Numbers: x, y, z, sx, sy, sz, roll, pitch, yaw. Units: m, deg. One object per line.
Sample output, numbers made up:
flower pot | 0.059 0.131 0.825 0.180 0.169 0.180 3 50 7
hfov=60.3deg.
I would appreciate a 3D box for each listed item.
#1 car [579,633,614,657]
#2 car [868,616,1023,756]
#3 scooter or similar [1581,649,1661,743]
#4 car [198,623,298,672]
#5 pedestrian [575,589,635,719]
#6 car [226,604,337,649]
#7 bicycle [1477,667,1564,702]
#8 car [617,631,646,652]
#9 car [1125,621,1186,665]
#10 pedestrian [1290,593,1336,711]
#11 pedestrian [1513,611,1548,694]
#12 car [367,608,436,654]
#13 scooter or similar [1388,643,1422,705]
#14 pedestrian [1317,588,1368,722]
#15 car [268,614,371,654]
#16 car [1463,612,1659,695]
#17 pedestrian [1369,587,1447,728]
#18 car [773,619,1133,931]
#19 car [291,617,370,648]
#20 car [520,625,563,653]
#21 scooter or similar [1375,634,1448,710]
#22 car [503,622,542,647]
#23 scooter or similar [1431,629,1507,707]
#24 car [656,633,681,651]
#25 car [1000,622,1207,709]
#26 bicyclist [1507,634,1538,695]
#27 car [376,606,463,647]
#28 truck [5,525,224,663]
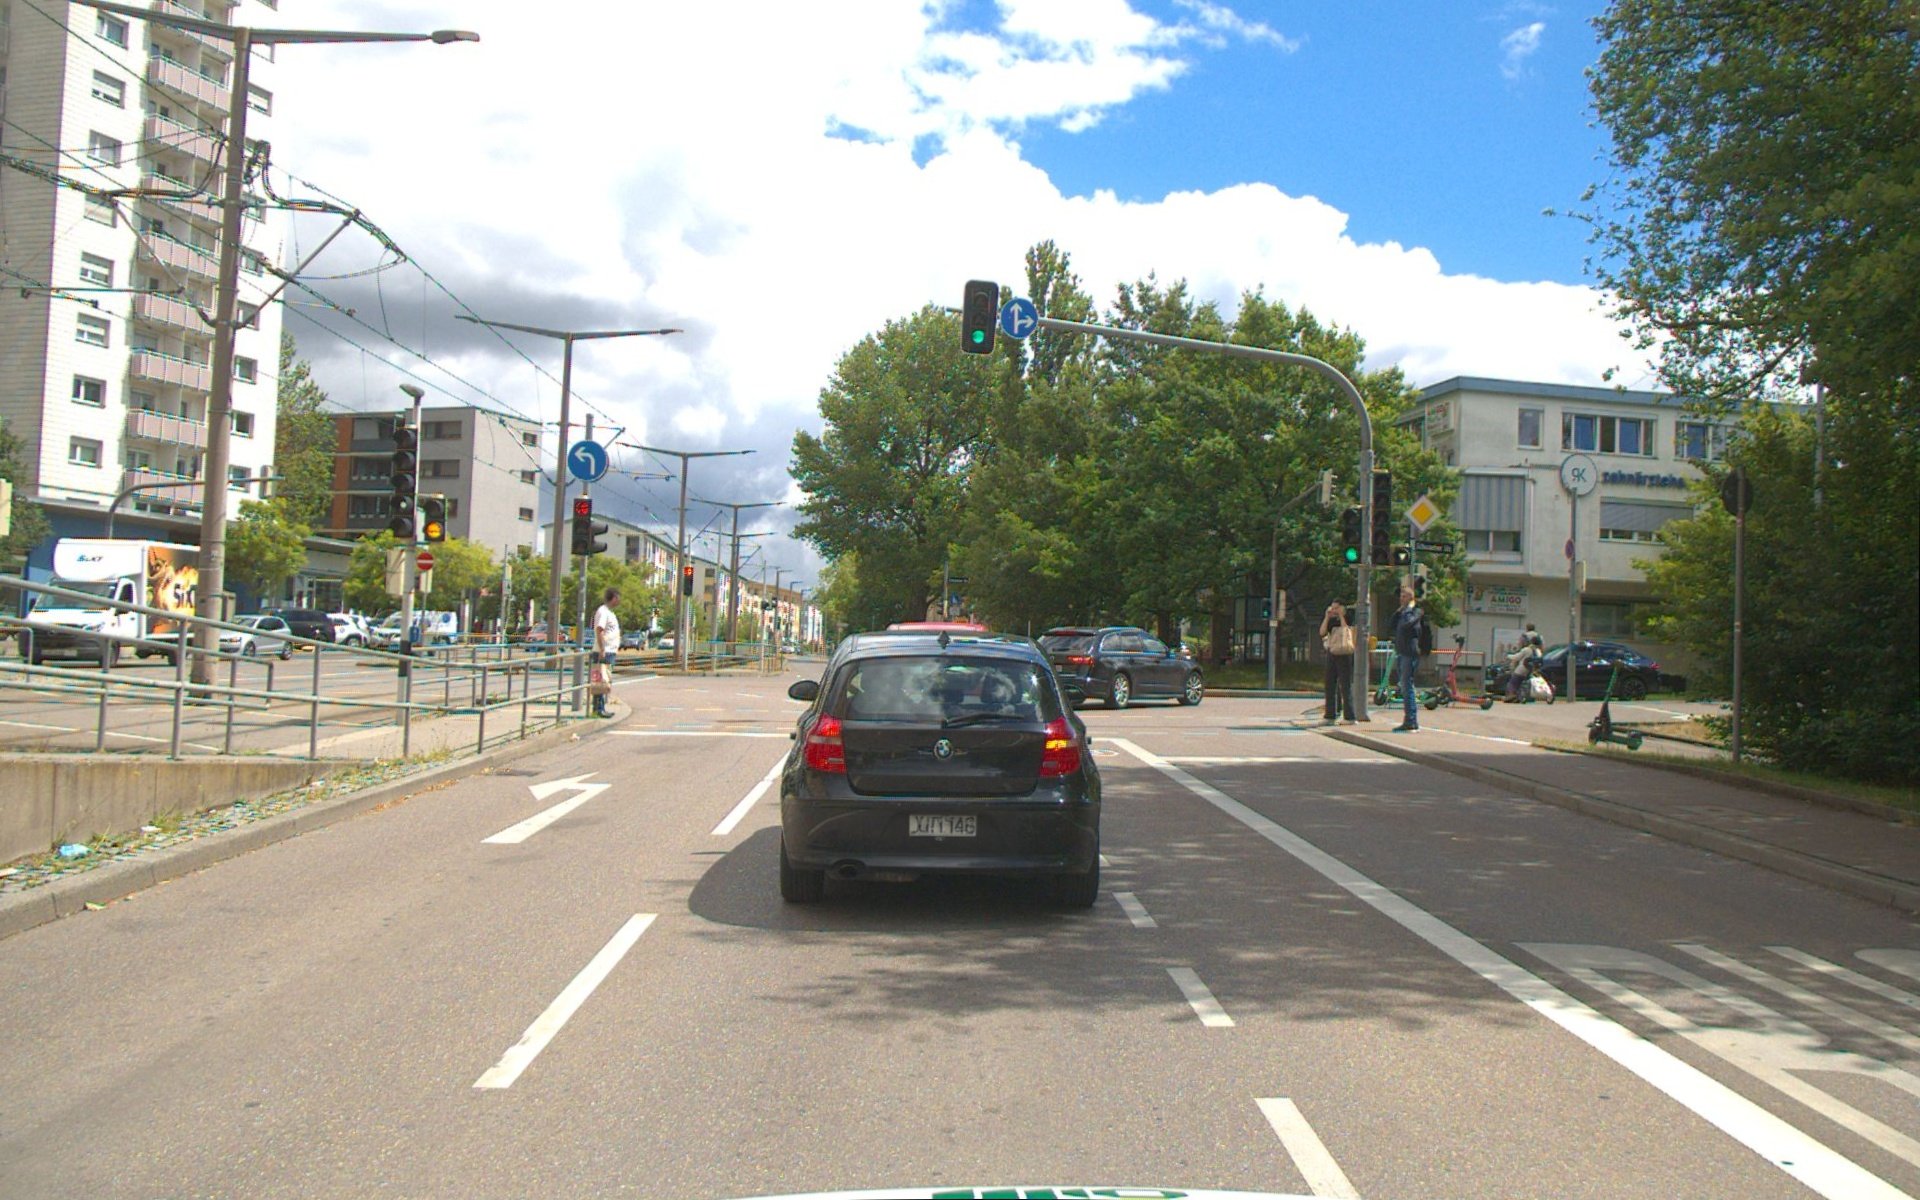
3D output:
car | -25.027 3.058 113.862 1.618 1.561 3.869 1 -1 -2
car | -0.170 0.921 19.076 1.605 1.424 3.419 1 -1 -1
scooter or similar | 9.538 1.385 23.883 0.872 1.251 0.454 6 -1 -1
car | -22.849 1.491 53.186 1.378 1.486 3.776 1 -1 3
pedestrian | -4.896 0.742 22.839 0.673 1.764 0.687 1 -1 -1
car | -27.602 1.085 67.348 3.951 1.716 1.558 2 -1 -34
bicycle | 11.053 1.661 32.664 0.530 0.620 1.564 2 -1 -44
car | -26.357 3.321 132.755 1.618 1.561 3.869 1 -1 -2
car | 8.826 1.945 75.076 1.694 1.904 3.991 2 -1 -9
pedestrian | 5.491 0.803 25.751 0.622 1.797 0.518 1 -1 5
pedestrian | 12.057 1.104 34.958 0.644 1.743 0.461 1 -1 26
car | -22.895 1.247 67.924 1.559 1.787 3.773 2 -1 -2
scooter or similar | 8.129 1.346 30.226 0.536 1.082 1.263 1 -1 13
pedestrian | 5.531 0.792 23.934 0.622 1.909 0.518 1 -1 5
car | -28.072 1.501 72.586 1.628 1.676 3.897 0 -1 44
car | 15.904 1.396 43.856 4.450 2.049 1.996 2 -1 -8
pedestrian | 6.224 0.787 23.017 0.779 1.909 1.013 1 -1 -1
car | -0.048 0.844 9.485 1.665 1.424 3.419 1 -1 -1
car | -28.833 1.496 75.759 3.076 1.304 1.449 2 -1 -39
car | -24.436 2.267 96.618 1.618 1.561 3.869 1 -1 -2
scooter or similar | 7.697 1.215 28.202 1.087 1.257 0.539 1 -1 1
car | -28.216 2.206 106.842 1.559 1.500 3.773 2 -1 -2
scooter or similar | 8.958 1.191 29.142 1.127 1.294 0.555 2 -1 2
car | -25.798 3.720 146.659 1.618 1.561 3.869 1 -1 -2
car | 2.751 1.172 30.664 1.867 1.447 4.524 1 -1 34
bicyclist | 11.093 1.263 32.626 0.393 1.177 0.499 0 -1 44
car | -27.466 1.350 84.105 3.892 2.009 1.631 2 -1 -43
truck | -21.324 -0.099 42.200 2.236 3.172 7.311 2 -1 -4
